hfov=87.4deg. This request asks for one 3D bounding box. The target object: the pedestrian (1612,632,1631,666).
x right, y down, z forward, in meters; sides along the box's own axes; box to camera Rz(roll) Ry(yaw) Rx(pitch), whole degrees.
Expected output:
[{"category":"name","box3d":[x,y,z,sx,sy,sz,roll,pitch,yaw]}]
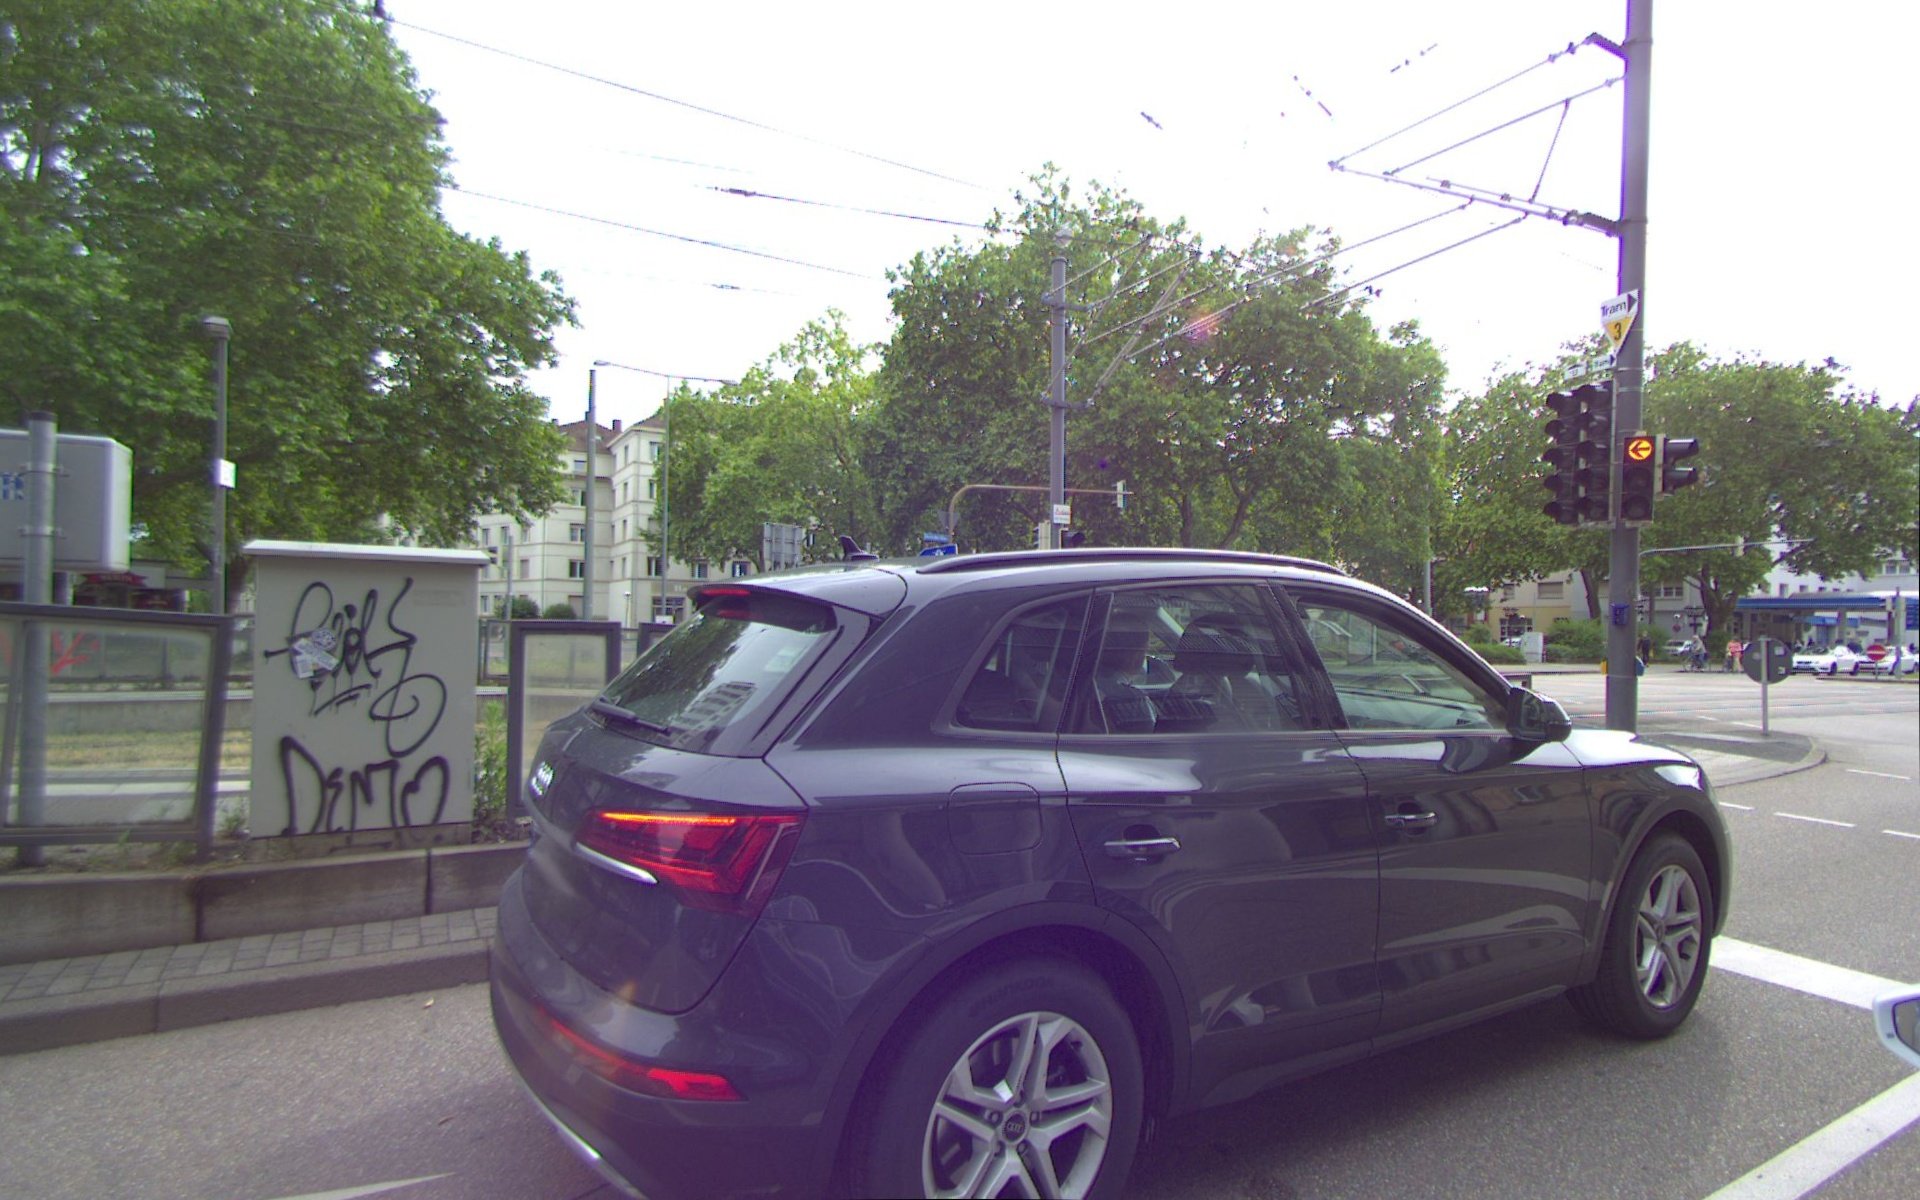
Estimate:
[{"category":"pedestrian","box3d":[34.784,2.571,52.817,0.681,1.735,0.865,0,-1,41]}]

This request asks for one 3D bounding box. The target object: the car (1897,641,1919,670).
[{"category":"car","box3d":[52.785,3.038,54.603,3.593,1.497,1.649,2,0,-29]}]

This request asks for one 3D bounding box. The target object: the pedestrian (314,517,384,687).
[{"category":"pedestrian","box3d":[-7.401,0.031,12.198,0.658,1.976,0.732,2,0,-30]}]

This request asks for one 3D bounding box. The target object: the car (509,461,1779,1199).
[{"category":"car","box3d":[0.829,0.652,3.460,4.177,1.658,1.725,2,0,-30]}]

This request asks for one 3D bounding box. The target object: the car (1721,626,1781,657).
[{"category":"car","box3d":[54.590,2.881,69.302,3.953,2.040,1.984,2,-1,-30]}]

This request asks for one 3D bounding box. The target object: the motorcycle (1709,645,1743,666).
[{"category":"motorcycle","box3d":[36.933,2.670,48.433,1.928,0.941,0.604,2,-1,-30]}]

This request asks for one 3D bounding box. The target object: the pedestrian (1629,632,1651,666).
[{"category":"pedestrian","box3d":[35.439,2.540,52.347,0.863,1.735,0.870,0,-1,41]}]

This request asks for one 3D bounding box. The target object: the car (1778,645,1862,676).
[{"category":"car","box3d":[41.381,2.912,48.335,4.025,1.338,1.739,2,0,-29]}]

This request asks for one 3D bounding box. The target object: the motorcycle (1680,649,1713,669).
[{"category":"motorcycle","box3d":[35.948,2.864,49.028,1.928,0.941,0.604,2,-1,-30]}]

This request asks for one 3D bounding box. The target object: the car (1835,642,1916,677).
[{"category":"car","box3d":[46.982,3.026,51.521,3.953,1.615,1.984,2,0,-30]}]

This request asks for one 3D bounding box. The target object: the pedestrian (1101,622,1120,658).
[{"category":"pedestrian","box3d":[6.429,1.695,42.965,0.644,1.530,0.683,1,-1,-3]}]

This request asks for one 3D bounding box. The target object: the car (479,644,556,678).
[{"category":"car","box3d":[-24.717,3.364,56.105,3.929,1.706,1.996,0,-1,31]}]

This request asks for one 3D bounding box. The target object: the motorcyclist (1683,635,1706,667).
[{"category":"motorcyclist","box3d":[35.808,2.485,48.945,0.863,1.540,0.617,2,-1,-30]}]

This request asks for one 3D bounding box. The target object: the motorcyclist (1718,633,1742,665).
[{"category":"motorcyclist","box3d":[37.239,2.369,48.571,0.863,1.540,0.617,2,-1,-30]}]
